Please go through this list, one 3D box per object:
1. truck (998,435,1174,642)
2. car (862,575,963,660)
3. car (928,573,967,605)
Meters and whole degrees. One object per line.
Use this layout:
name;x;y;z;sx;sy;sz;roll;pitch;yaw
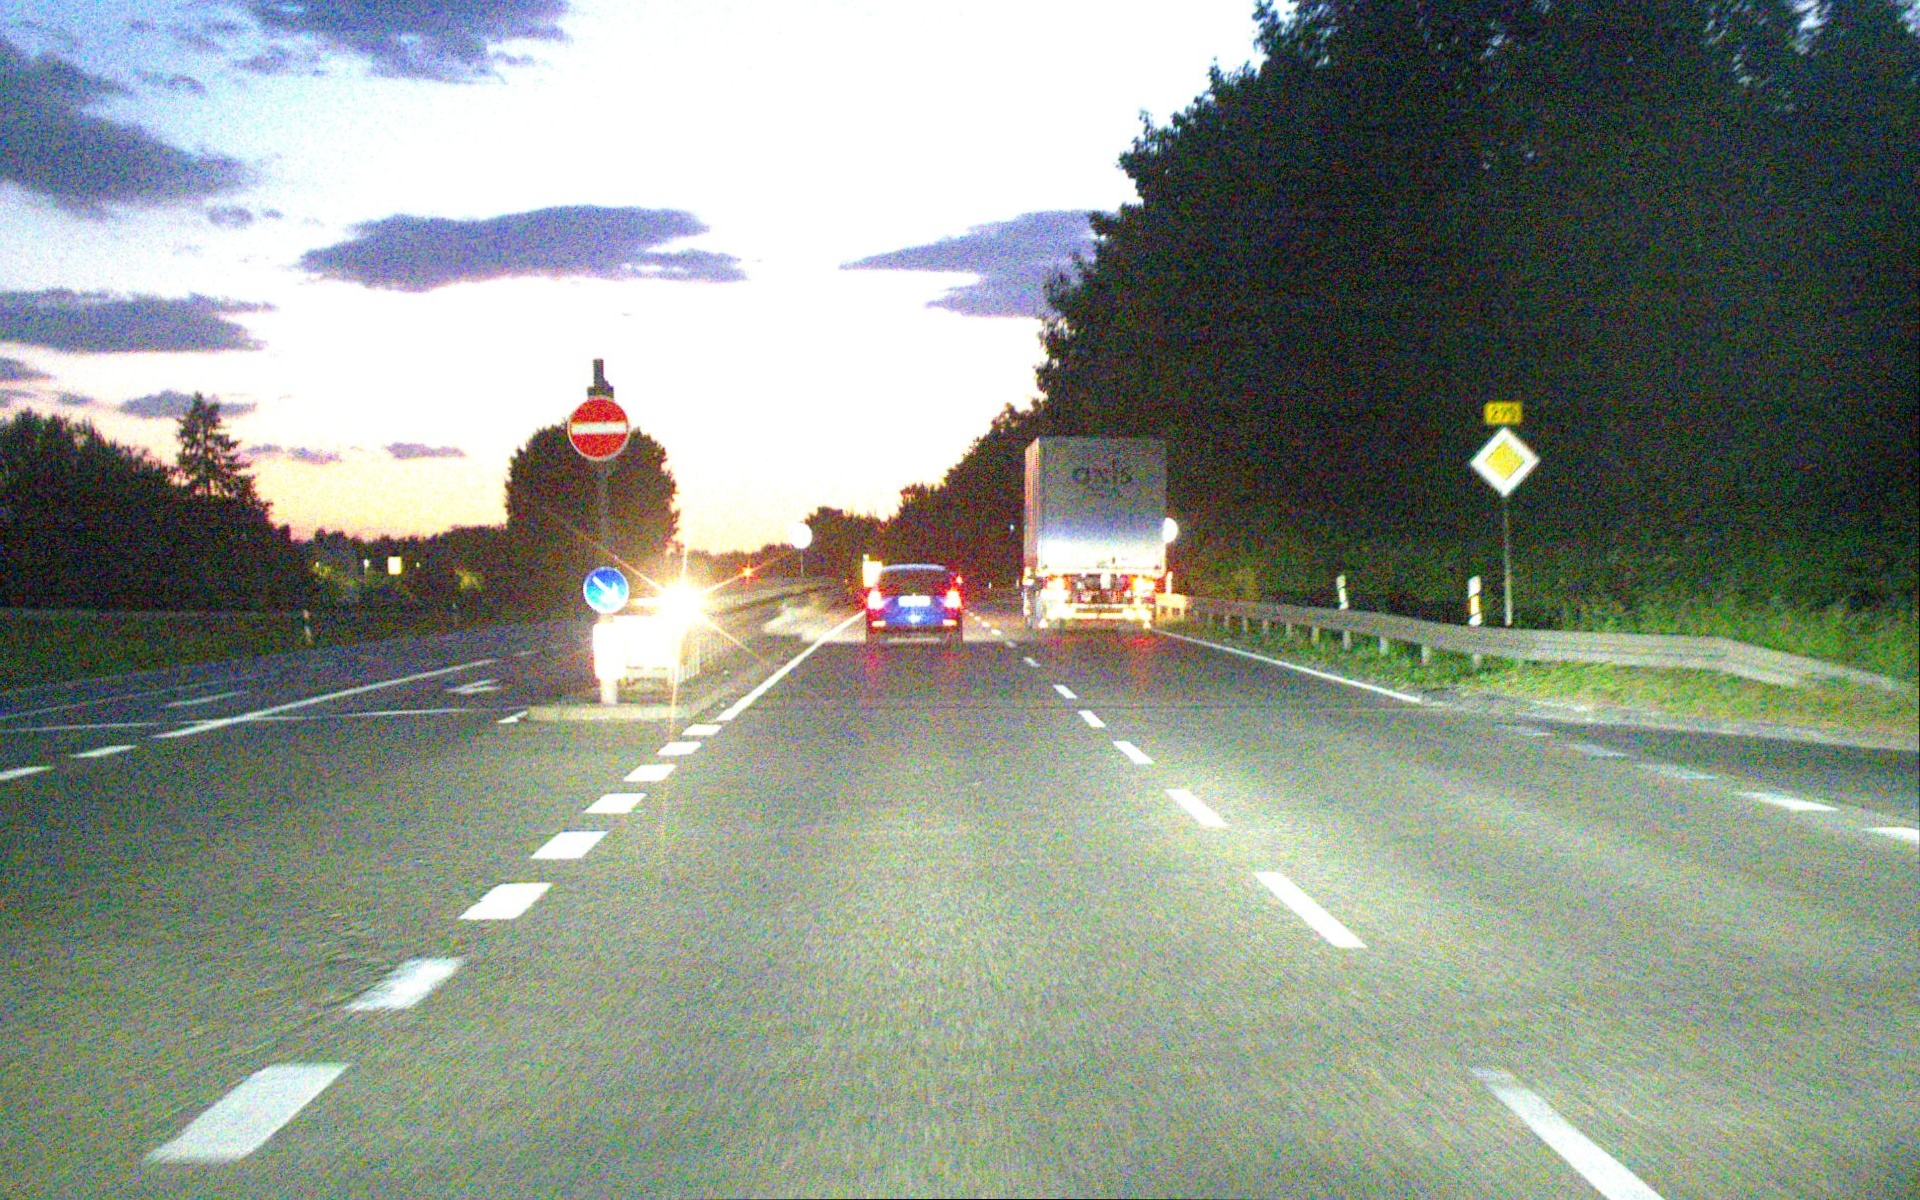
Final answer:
truck;2.571;-1.277;74.390;2.883;4.092;12.684;0;1;-2
car;-0.861;0.280;60.776;1.695;1.447;3.914;0;1;-2
car;-0.596;-0.505;158.433;1.695;1.447;3.914;0;1;-2
